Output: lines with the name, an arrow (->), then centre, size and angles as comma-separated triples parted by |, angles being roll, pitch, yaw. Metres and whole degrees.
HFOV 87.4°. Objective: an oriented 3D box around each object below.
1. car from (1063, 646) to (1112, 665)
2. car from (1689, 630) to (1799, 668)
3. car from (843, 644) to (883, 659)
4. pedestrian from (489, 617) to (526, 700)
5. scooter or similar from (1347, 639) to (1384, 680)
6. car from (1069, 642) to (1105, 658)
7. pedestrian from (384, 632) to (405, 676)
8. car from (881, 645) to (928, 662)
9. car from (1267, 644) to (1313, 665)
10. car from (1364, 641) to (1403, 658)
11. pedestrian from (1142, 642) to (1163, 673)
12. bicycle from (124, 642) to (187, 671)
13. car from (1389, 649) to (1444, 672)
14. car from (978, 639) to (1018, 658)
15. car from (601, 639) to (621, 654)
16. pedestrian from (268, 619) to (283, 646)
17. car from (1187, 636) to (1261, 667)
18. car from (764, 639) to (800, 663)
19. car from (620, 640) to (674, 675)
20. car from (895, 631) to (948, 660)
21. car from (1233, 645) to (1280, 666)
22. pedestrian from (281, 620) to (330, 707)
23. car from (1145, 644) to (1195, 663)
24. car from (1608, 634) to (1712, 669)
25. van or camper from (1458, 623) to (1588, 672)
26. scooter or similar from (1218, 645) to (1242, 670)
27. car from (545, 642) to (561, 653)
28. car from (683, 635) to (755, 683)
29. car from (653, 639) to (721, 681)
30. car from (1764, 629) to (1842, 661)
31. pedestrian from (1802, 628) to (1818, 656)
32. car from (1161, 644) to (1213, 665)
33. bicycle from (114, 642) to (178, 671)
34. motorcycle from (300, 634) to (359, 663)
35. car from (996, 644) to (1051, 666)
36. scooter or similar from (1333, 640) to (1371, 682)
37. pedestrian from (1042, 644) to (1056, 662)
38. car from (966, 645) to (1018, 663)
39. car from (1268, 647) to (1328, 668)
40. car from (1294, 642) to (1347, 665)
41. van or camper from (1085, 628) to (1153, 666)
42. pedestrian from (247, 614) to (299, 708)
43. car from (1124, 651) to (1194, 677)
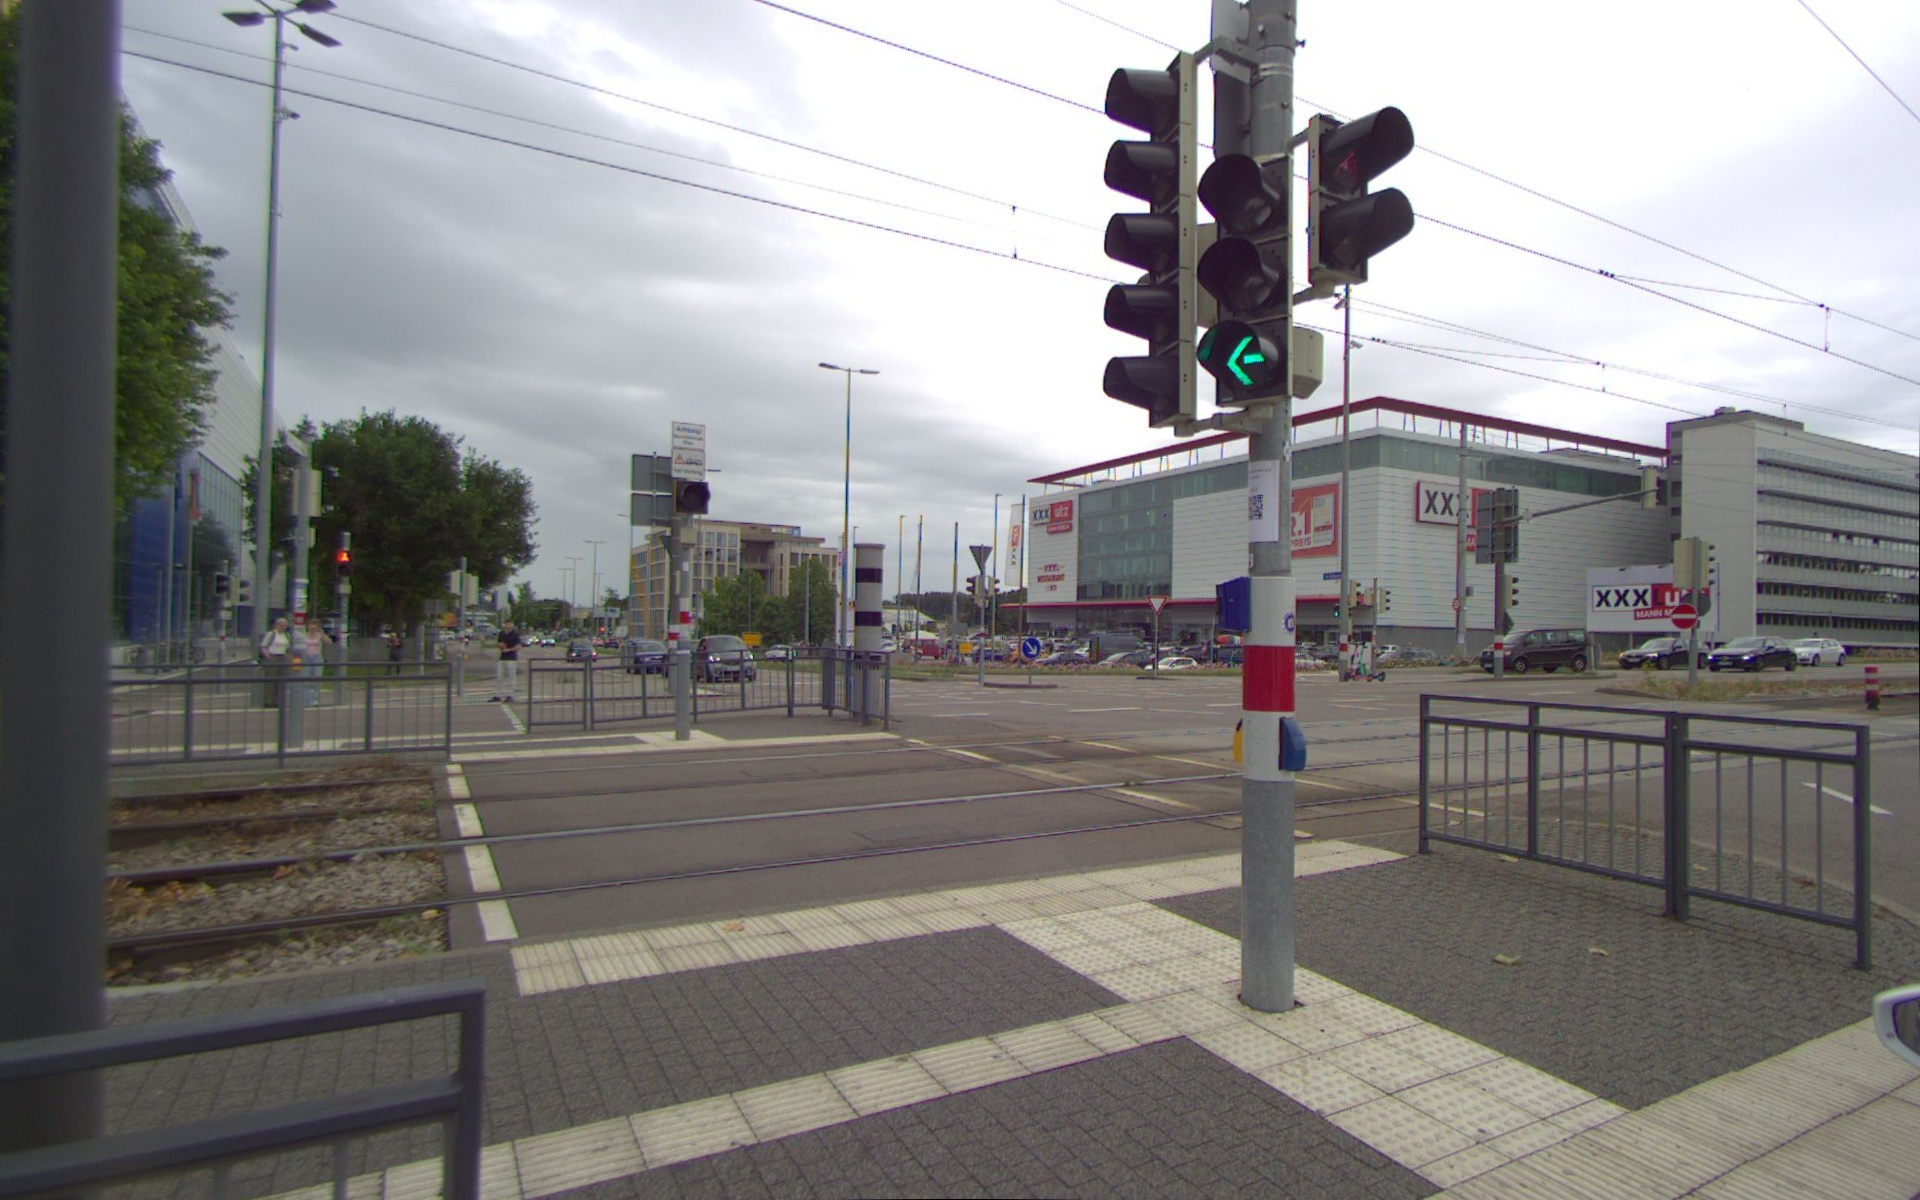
car -> 11.216, 4.906, 88.252 | 3.947, 1.572, 1.852 | 2, -3, -26
car -> 32.642, 2.046, 41.812 | 4.147, 1.483, 1.827 | 1, -1, -22
car -> -10.482, 5.565, 108.643 | 4.014, 1.561, 1.752 | 2, -1, -26
pedestrian -> -10.108, 1.306, 22.446 | 0.656, 1.787, 0.682 | -1, -4, -30
scooter or similar -> 13.055, 1.915, 32.332 | 1.096, 1.272, 0.320 | 0, -3, -14
car -> 14.900, 5.875, 117.719 | 3.949, 1.844, 1.774 | 3, -3, -27
pedestrian -> -21.546, 2.059, 38.286 | 0.628, 1.663, 0.803 | 2, -4, -30
car -> -5.546, 5.385, 100.754 | 4.331, 1.480, 1.948 | 2, -1, -26
car -> 30.762, 5.071, 93.698 | 3.946, 1.842, 1.810 | 1, -3, -25
car -> 41.149, 4.805, 97.592 | 3.568, 1.581, 1.640 | 1, -1, -26
pedestrian -> 10.259, 3.085, 53.582 | 0.775, 1.617, 0.711 | 2, -5, -31
bicycle -> -35.120, 2.462, 43.875 | 1.998, 1.172, 0.589 | 4, -3, -29
car -> 34.435, 4.557, 75.683 | 3.954, 1.687, 1.871 | 2, -2, -30
car -> 3.889, 5.020, 103.710 | 3.699, 1.791, 1.722 | 2, -1, -26
car -> -49.497, 6.588, 142.489 | 1.977, 2.040, 3.967 | 1, -2, -31
pedestrian -> -45.490, 2.175, 66.791 | 0.671, 1.768, 0.802 | 3, -2, -28
car -> 19.215, 3.742, 73.151 | 4.979, 2.193, 2.111 | 1, -2, -23
car -> -14.879, 4.224, 83.807 | 1.973, 1.775, 4.154 | 2, -1, -25
car -> -13.903, 2.523, 44.508 | 1.587, 1.463, 4.114 | 0, -2, -28
car -> -3.720, 4.436, 97.169 | 4.676, 2.613, 2.156 | 2, -1, -26
car -> 26.897, 5.016, 91.100 | 3.948, 1.886, 1.821 | 1, -2, -27
pedestrian -> -13.386, 1.297, 20.573 | 0.666, 1.734, 0.762 | 2, -3, -24
car -> 18.069, 4.607, 86.585 | 3.948, 1.576, 1.843 | 3, -3, -27
car -> 32.194, 2.360, 46.231 | 4.259, 1.483, 1.958 | 1, -1, -22
van or camper -> 24.703, 2.105, 44.113 | 4.670, 2.039, 2.120 | 0, -4, -12
scooter or similar -> 13.831, 2.963, 51.408 | 1.143, 1.249, 0.346 | -1, -4, 25
car -> -58.456, 6.861, 144.267 | 1.912, 1.539, 4.155 | -1, -2, -26
car -> -8.137, 1.944, 33.812 | 1.588, 1.522, 3.186 | 0, -2, -29
car -> -10.622, 2.304, 38.924 | 1.647, 1.522, 4.035 | 1, -3, -28
car -> 43.571, 2.334, 51.920 | 3.995, 1.559, 1.721 | 2, -1, -28
pedestrian -> 55.109, 2.722, 65.102 | 0.686, 1.814, 0.640 | 2, 0, 36
car -> 18.982, 4.525, 84.075 | 3.947, 1.692, 1.874 | 1, -2, -26
bicycle -> -34.723, 2.418, 42.872 | 1.998, 1.172, 0.589 | 4, -3, -29
motorcycle -> -33.034, 2.547, 52.659 | 2.480, 1.373, 0.791 | 5, -4, -40
car -> 5.045, 4.315, 79.391 | 3.943, 1.665, 1.806 | 2, -3, -23
scooter or similar -> 12.228, 1.893, 31.321 | 1.001, 1.272, 0.463 | 0, -3, -14
pedestrian -> 8.672, 5.137, 97.853 | 0.931, 1.742, 0.879 | 2, 0, -29
car -> 2.685, 4.501, 83.674 | 3.948, 1.474, 1.803 | 2, -3, -27
car -> 24.589, 4.183, 73.043 | 4.155, 1.495, 1.734 | 2, -3, -26
car -> 30.299, 4.487, 84.435 | 4.166, 1.804, 1.853 | 1, -2, -25
van or camper -> 13.201, 3.941, 83.600 | 5.314, 3.022, 1.983 | 2, -3, -19
pedestrian -> -13.696, 1.223, 20.022 | 0.671, 1.820, 0.756 | 4, -5, -45
car -> 12.499, 4.018, 63.159 | 4.070, 1.465, 1.861 | 2, -1, -29
